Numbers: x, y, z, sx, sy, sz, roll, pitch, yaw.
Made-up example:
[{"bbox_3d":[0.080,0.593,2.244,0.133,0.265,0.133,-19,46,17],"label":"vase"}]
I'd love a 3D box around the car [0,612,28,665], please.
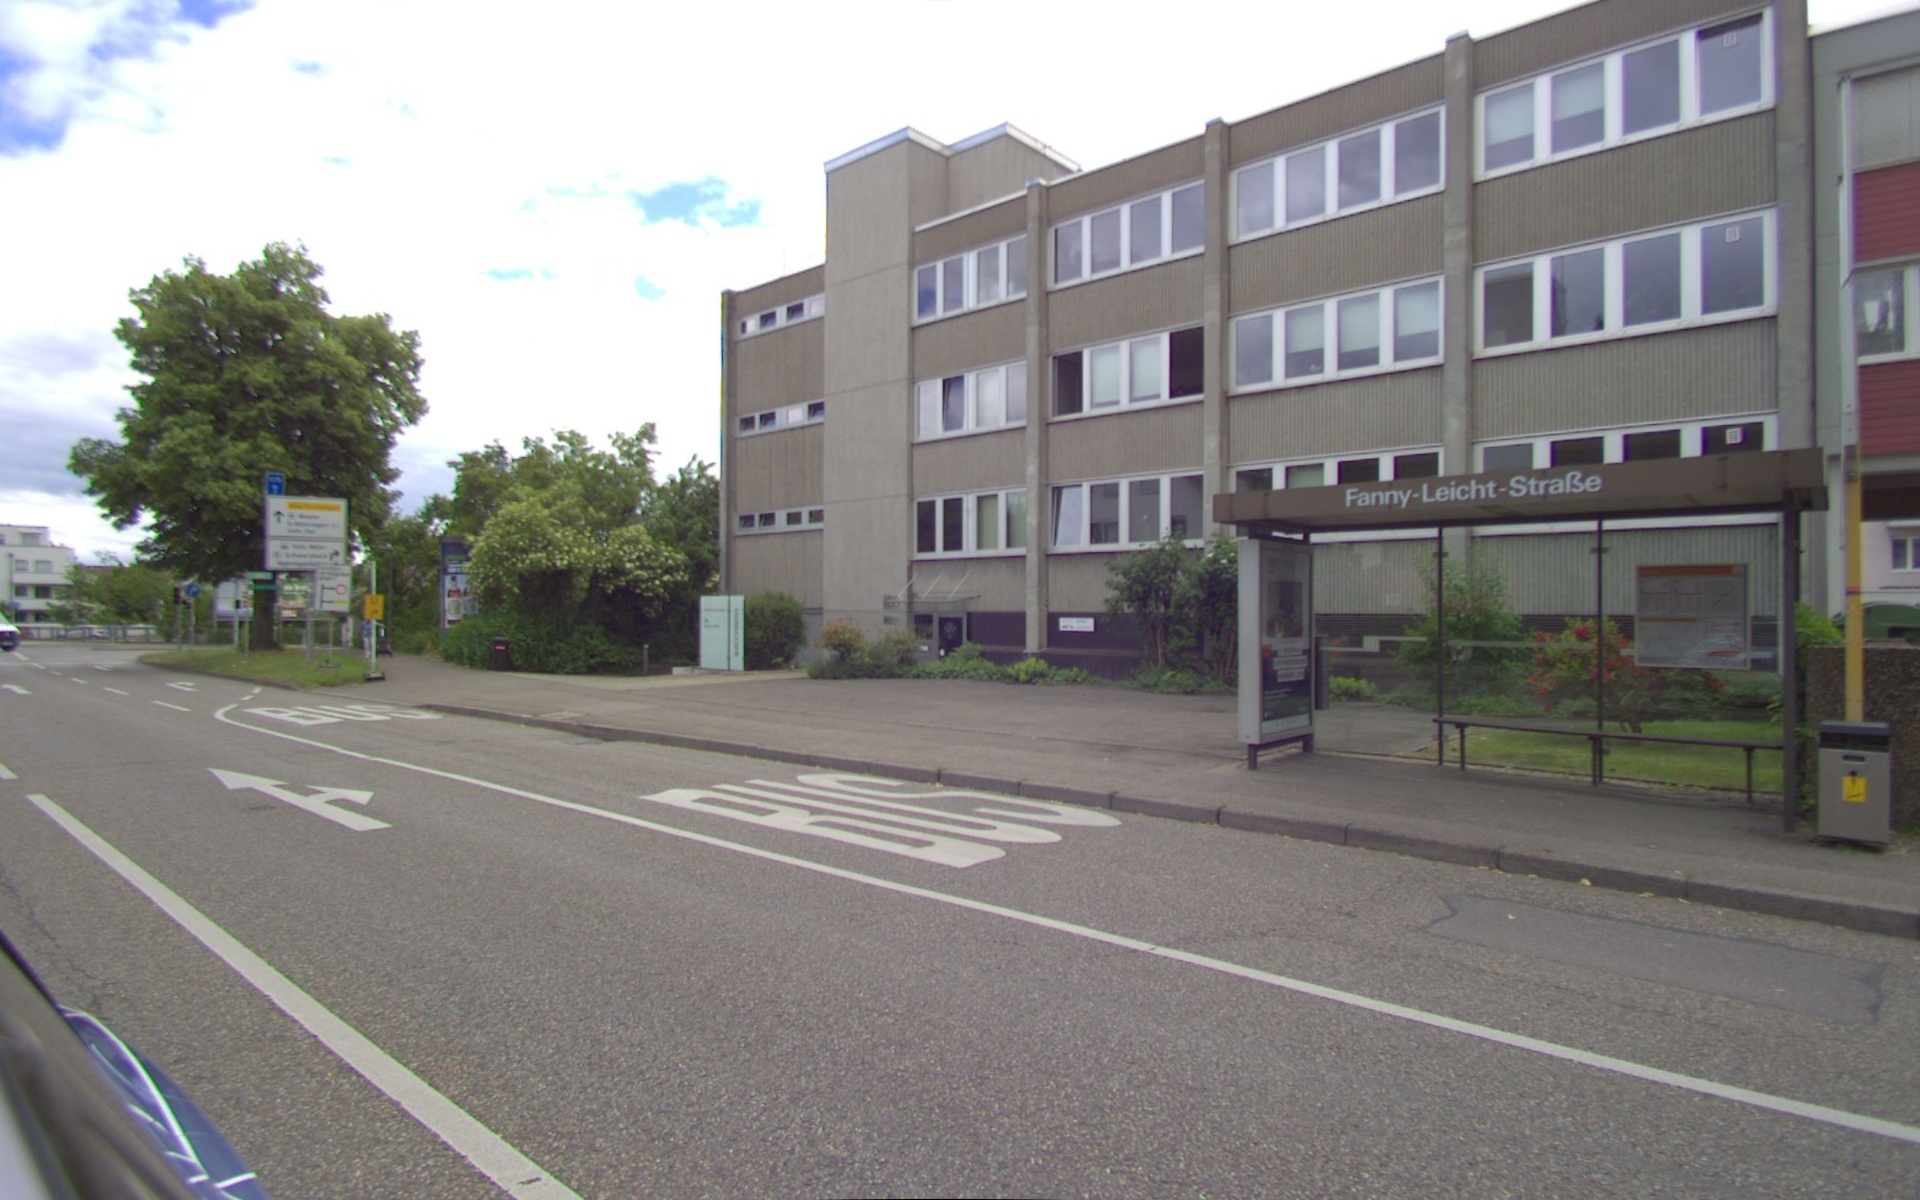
[{"bbox_3d":[-52.350,2.027,52.248,7.362,2.665,2.191,-1,0,10],"label":"car"}]

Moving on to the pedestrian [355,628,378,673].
[{"bbox_3d":[-21.238,1.810,36.220,0.662,1.570,0.521,-1,0,-32],"label":"pedestrian"}]

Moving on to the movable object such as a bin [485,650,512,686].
[{"bbox_3d":[-12.497,1.832,27.406,0.558,0.934,0.609,-1,0,-33],"label":"movable object such as a bin"}]

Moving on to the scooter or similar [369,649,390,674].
[{"bbox_3d":[-20.385,2.156,35.525,0.598,0.792,0.861,-1,1,-32],"label":"scooter or similar"}]

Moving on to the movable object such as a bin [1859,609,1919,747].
[{"bbox_3d":[10.910,0.858,11.511,0.992,1.476,1.285,-1,1,41],"label":"movable object such as a bin"}]
